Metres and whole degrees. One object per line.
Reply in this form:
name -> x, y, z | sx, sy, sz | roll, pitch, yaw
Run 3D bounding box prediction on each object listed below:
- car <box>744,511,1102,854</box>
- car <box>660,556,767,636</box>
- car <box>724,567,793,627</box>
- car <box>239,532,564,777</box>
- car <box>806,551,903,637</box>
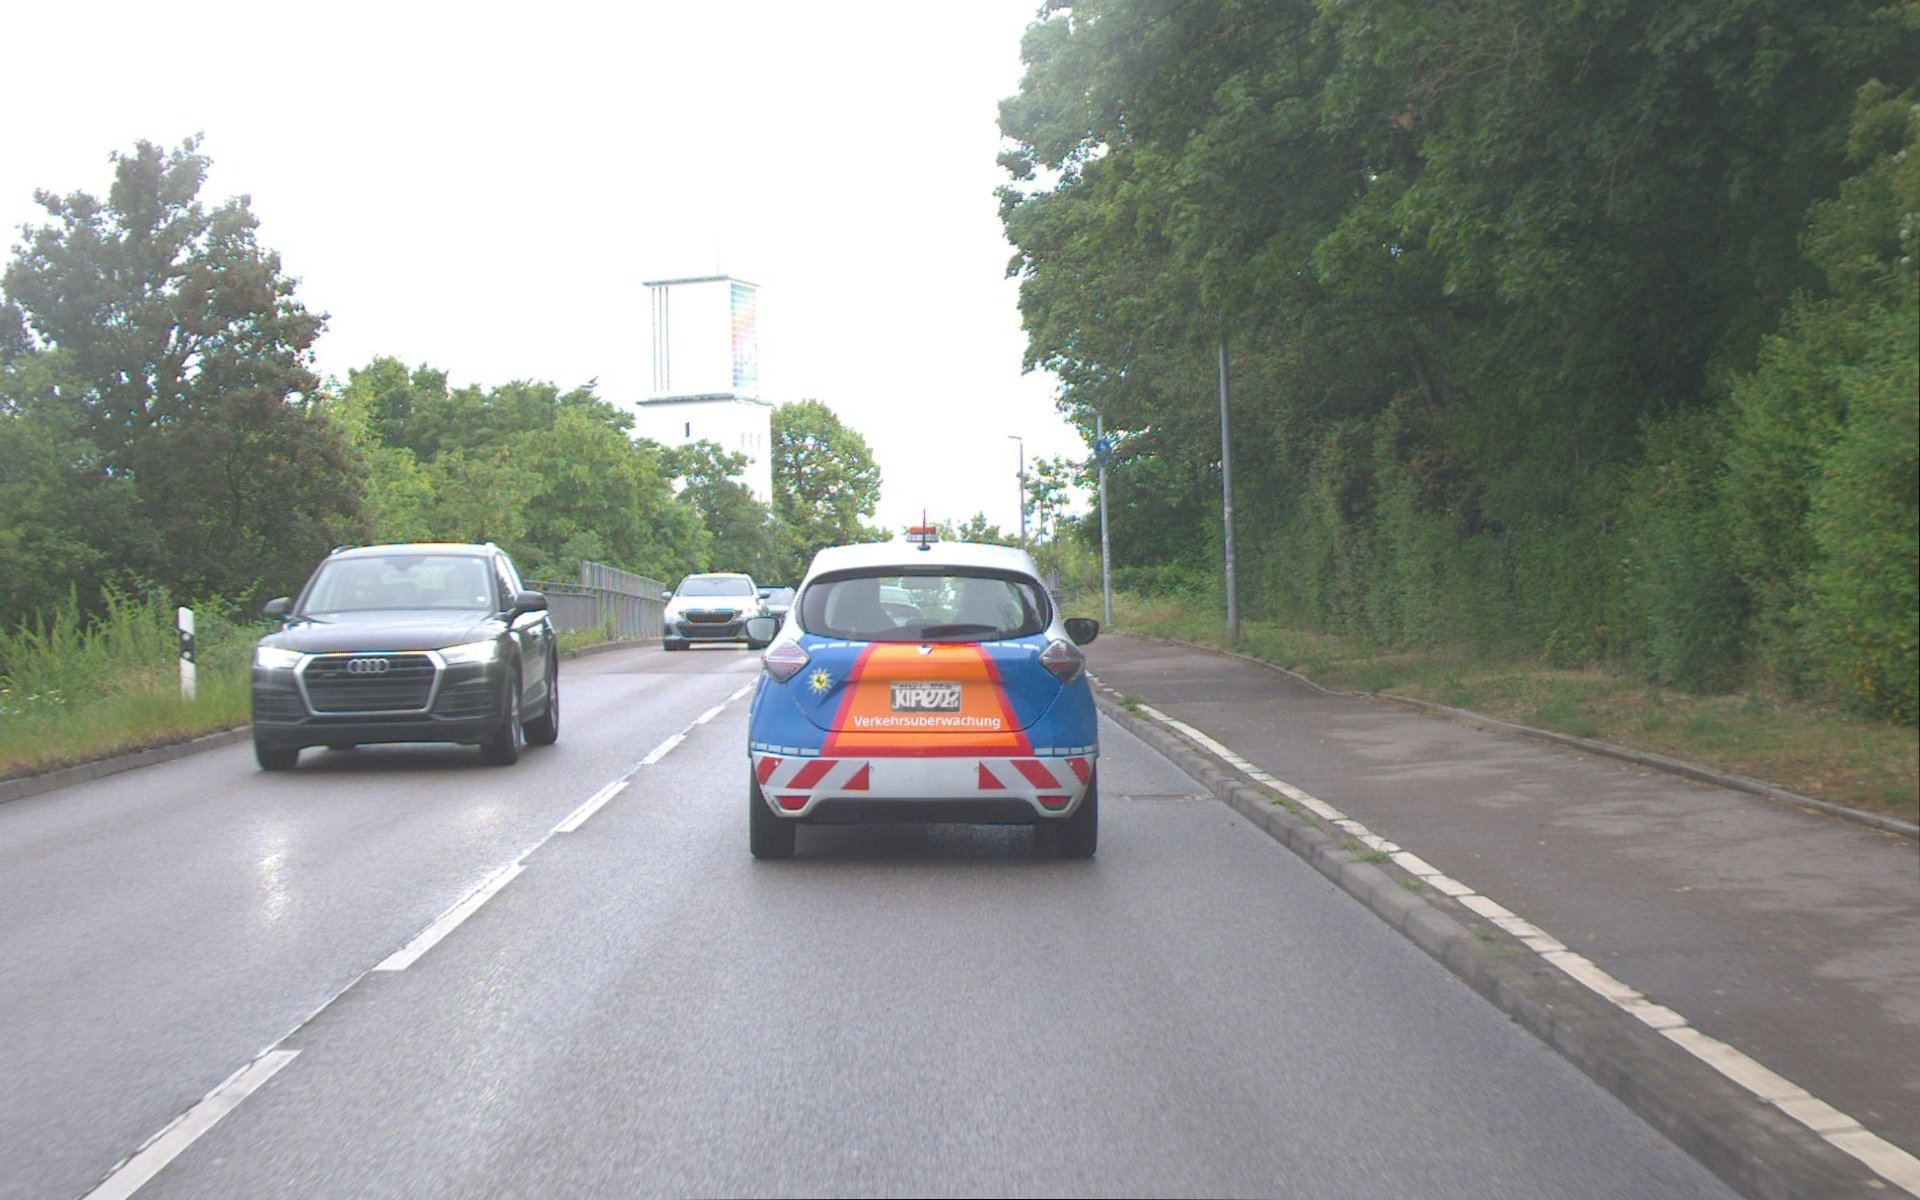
car -> -0.204, 0.397, 17.920 | 1.657, 1.587, 3.568 | -1, 0, -1
car -> -4.845, -0.100, 68.127 | 1.861, 1.498, 4.728 | -1, 1, -1
car -> -5.491, -0.096, 94.131 | 1.730, 1.580, 4.081 | -1, 1, -1
car -> -4.147, 0.338, 26.155 | 1.869, 1.580, 4.415 | 1, 3, -2
car -> -2.085, -0.116, 67.915 | 1.802, 1.584, 3.563 | -2, 0, -2
